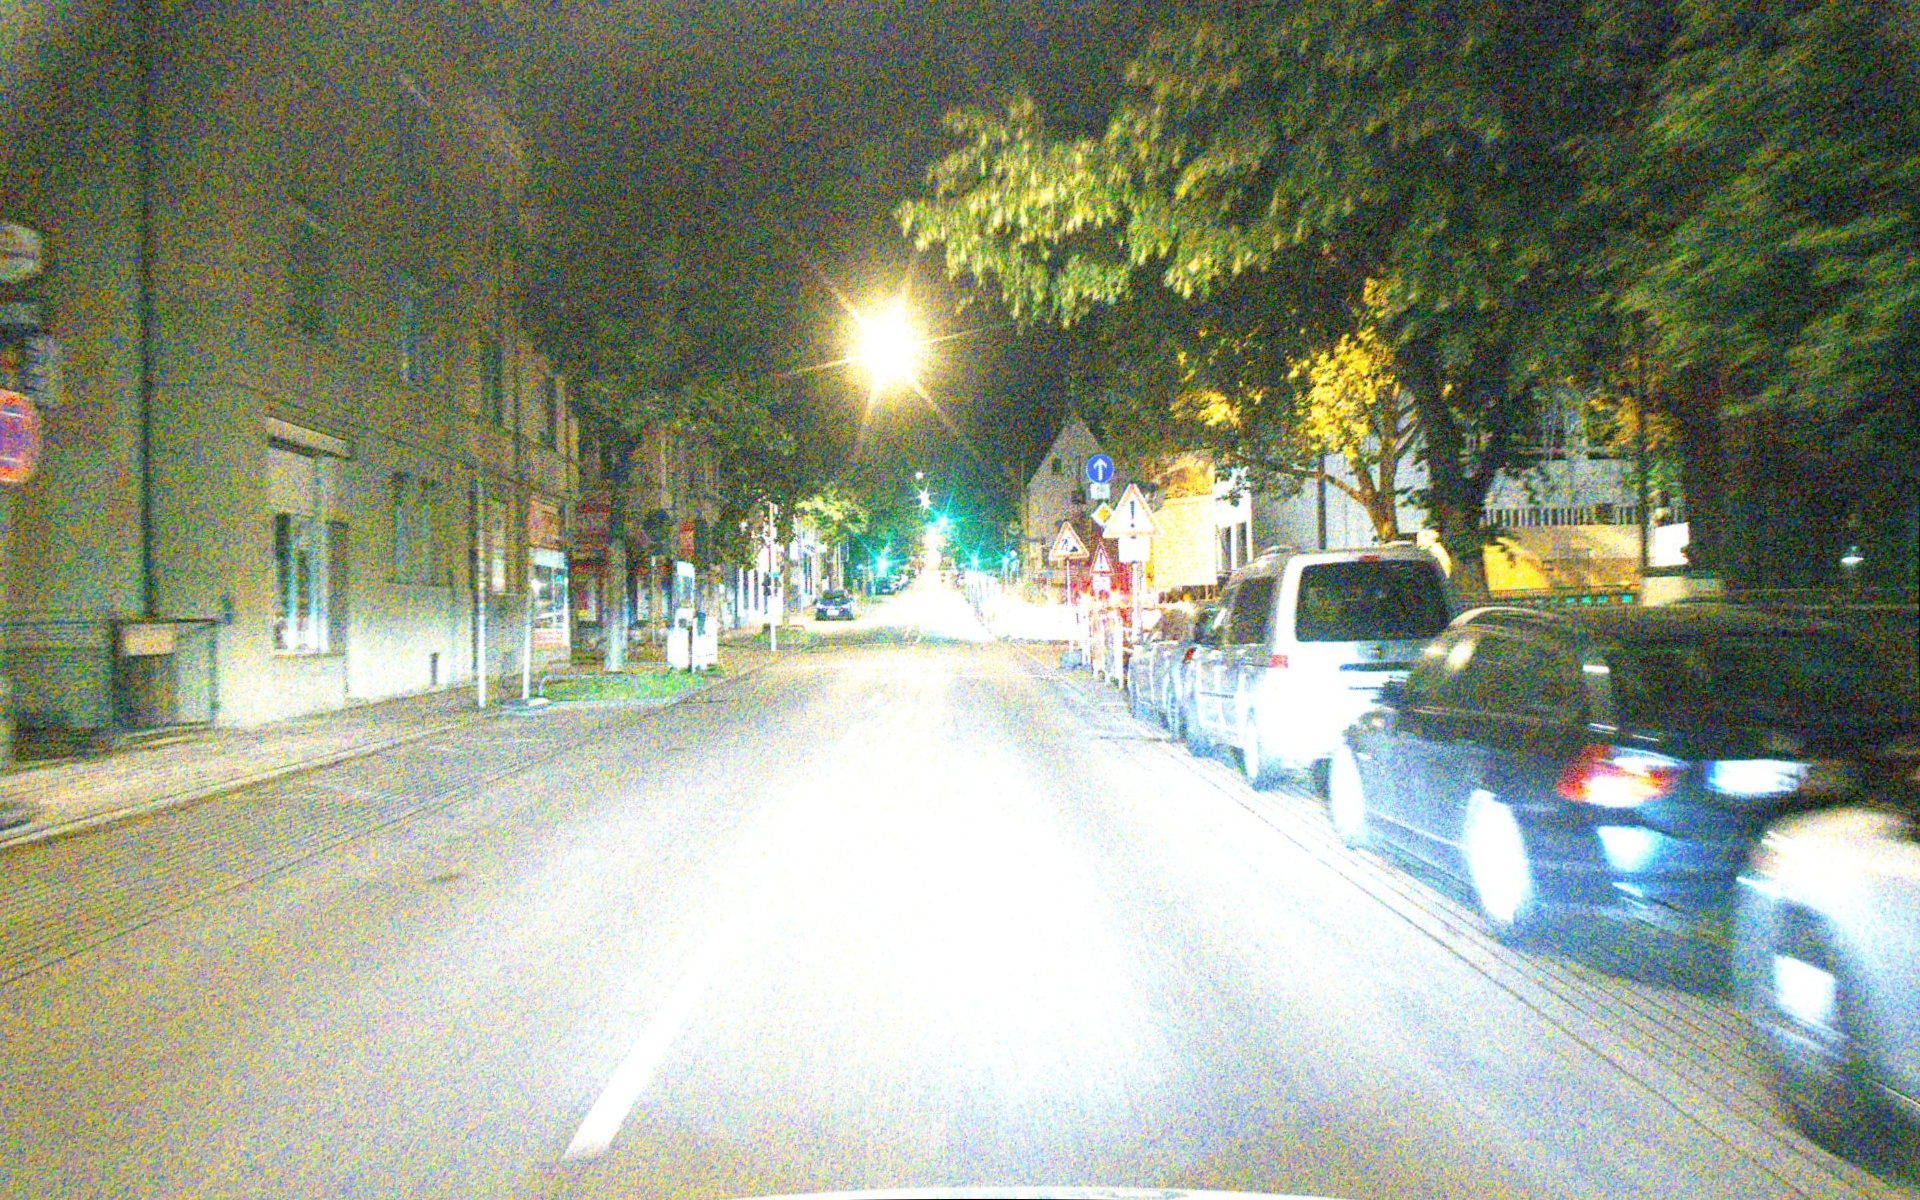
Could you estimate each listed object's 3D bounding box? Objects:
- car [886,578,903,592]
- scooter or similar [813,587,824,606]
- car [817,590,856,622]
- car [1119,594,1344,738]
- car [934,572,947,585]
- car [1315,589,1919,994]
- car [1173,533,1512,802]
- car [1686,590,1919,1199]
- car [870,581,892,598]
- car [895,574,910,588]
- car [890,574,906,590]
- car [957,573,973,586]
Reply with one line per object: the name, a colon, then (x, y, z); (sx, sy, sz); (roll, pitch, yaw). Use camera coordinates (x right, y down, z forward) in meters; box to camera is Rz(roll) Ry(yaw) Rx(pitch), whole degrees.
car: (-7.513, -1.737, 190.568); (1.835, 1.571, 4.204); (-1, 1, -1)
scooter or similar: (-9.166, -0.234, 107.139); (0.517, 1.185, 2.506); (-3, -1, -1)
car: (-6.040, 0.251, 81.278); (1.637, 1.468, 4.204); (-1, 1, -1)
car: (3.029, 0.677, 19.330); (1.693, 1.444, 4.321); (-1, 0, -3)
car: (-2.865, -3.230, 246.914); (1.835, 1.846, 4.205); (-1, 1, 0)
car: (3.154, 0.703, 8.393); (1.652, 1.445, 4.442); (-2, 0, -1)
car: (3.052, 0.479, 14.136); (1.700, 1.887, 4.314); (-2, 0, -2)
car: (3.212, 0.721, 3.275); (1.704, 1.503, 4.000); (-4, 0, 0)
car: (-7.333, -0.990, 153.348); (1.835, 1.571, 4.204); (-1, 1, -1)
car: (-7.496, -2.482, 215.007); (1.835, 1.846, 4.204); (-1, 1, -1)
car: (-7.352, -2.123, 196.710); (1.835, 1.846, 4.204); (-1, 1, -1)
car: (0.630, -2.525, 203.864); (1.835, 1.571, 4.204); (-1, 1, -1)
